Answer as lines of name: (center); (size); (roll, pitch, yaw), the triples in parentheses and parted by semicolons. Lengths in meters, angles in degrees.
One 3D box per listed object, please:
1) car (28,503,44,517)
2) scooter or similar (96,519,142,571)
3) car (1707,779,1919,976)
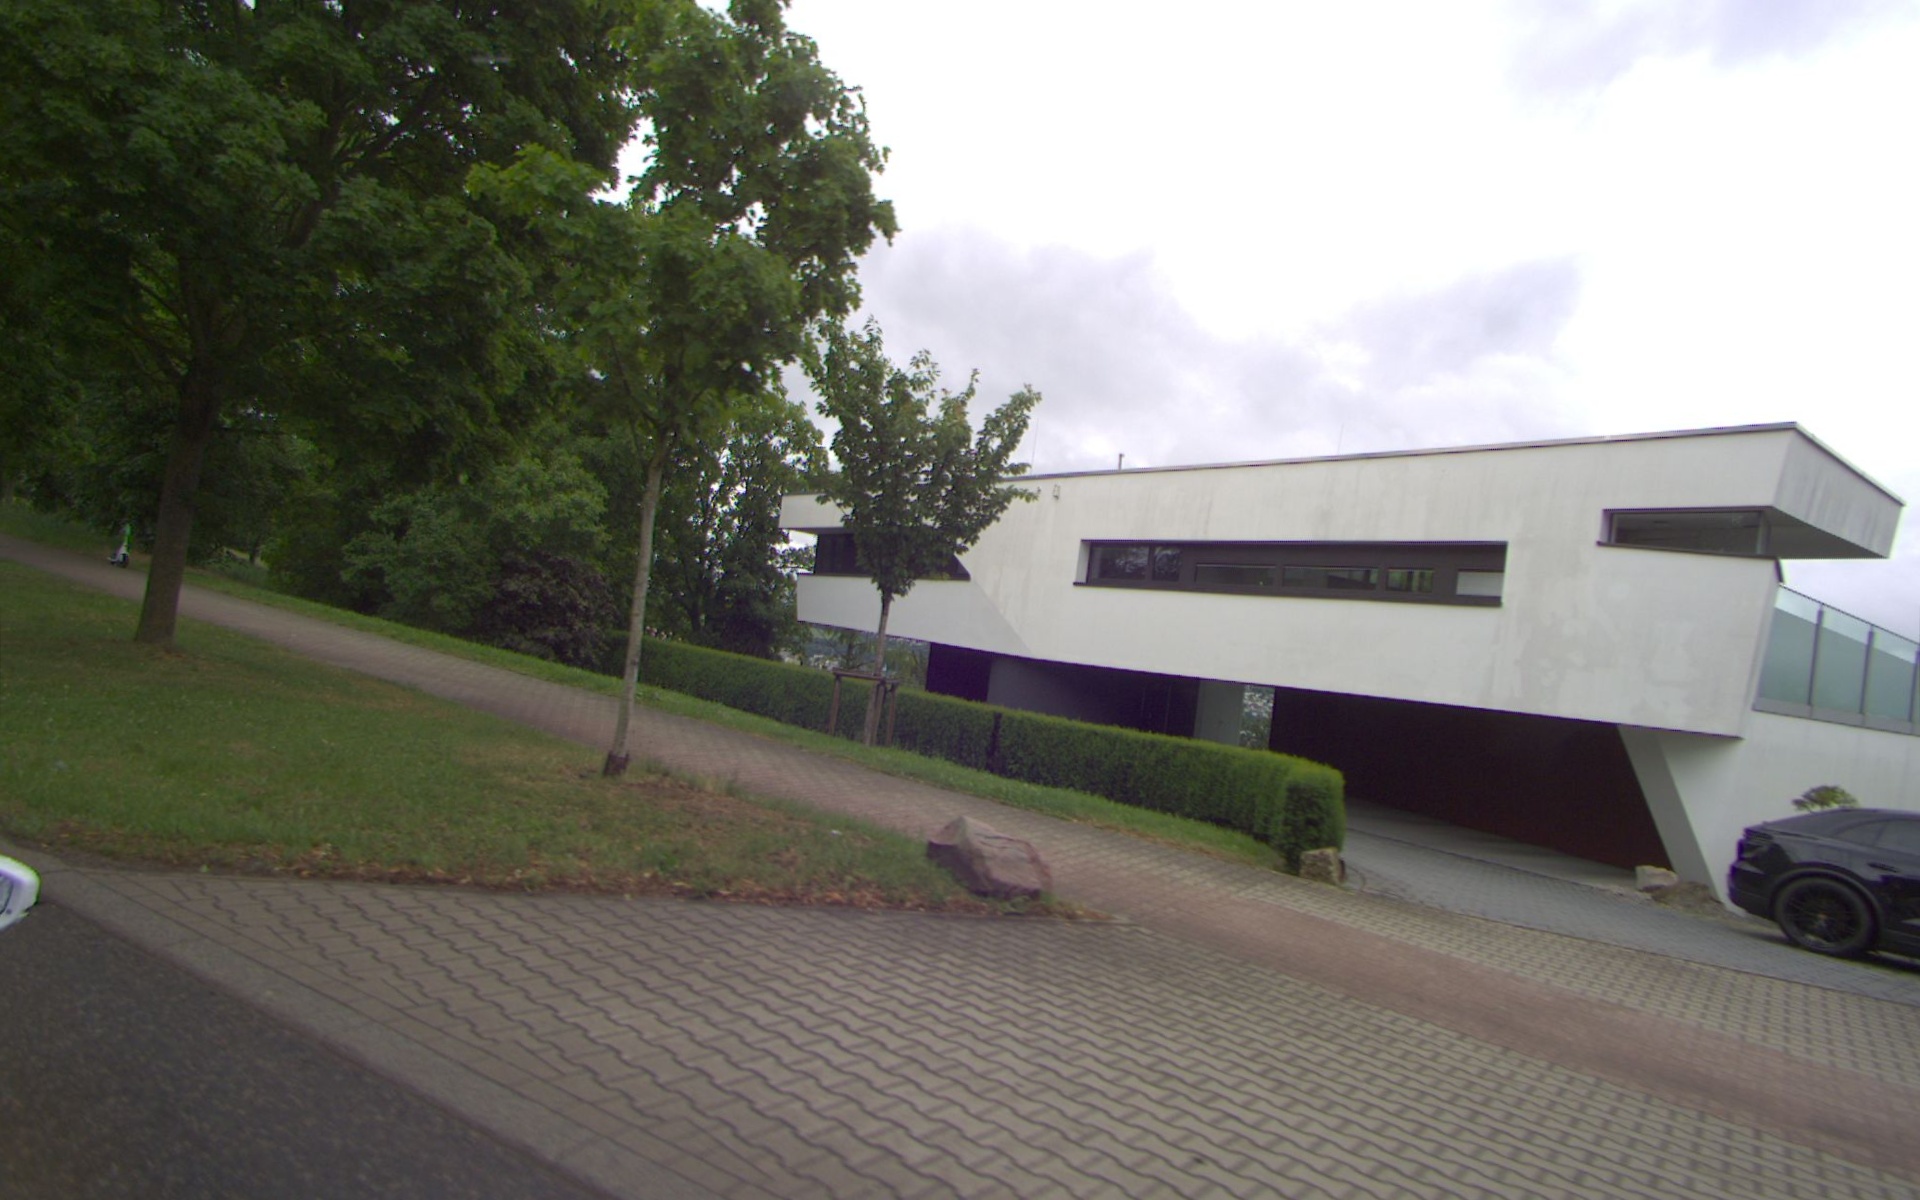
car: (-135.581, -13.185, 147.585); (3.387, 1.586, 1.420); (5, -6, 45)
scooter or similar: (-20.769, -1.365, 24.833); (1.280, 1.160, 0.463); (7, 0, 35)
car: (10.205, 2.946, 9.691); (1.915, 1.566, 4.413); (12, -6, -39)
